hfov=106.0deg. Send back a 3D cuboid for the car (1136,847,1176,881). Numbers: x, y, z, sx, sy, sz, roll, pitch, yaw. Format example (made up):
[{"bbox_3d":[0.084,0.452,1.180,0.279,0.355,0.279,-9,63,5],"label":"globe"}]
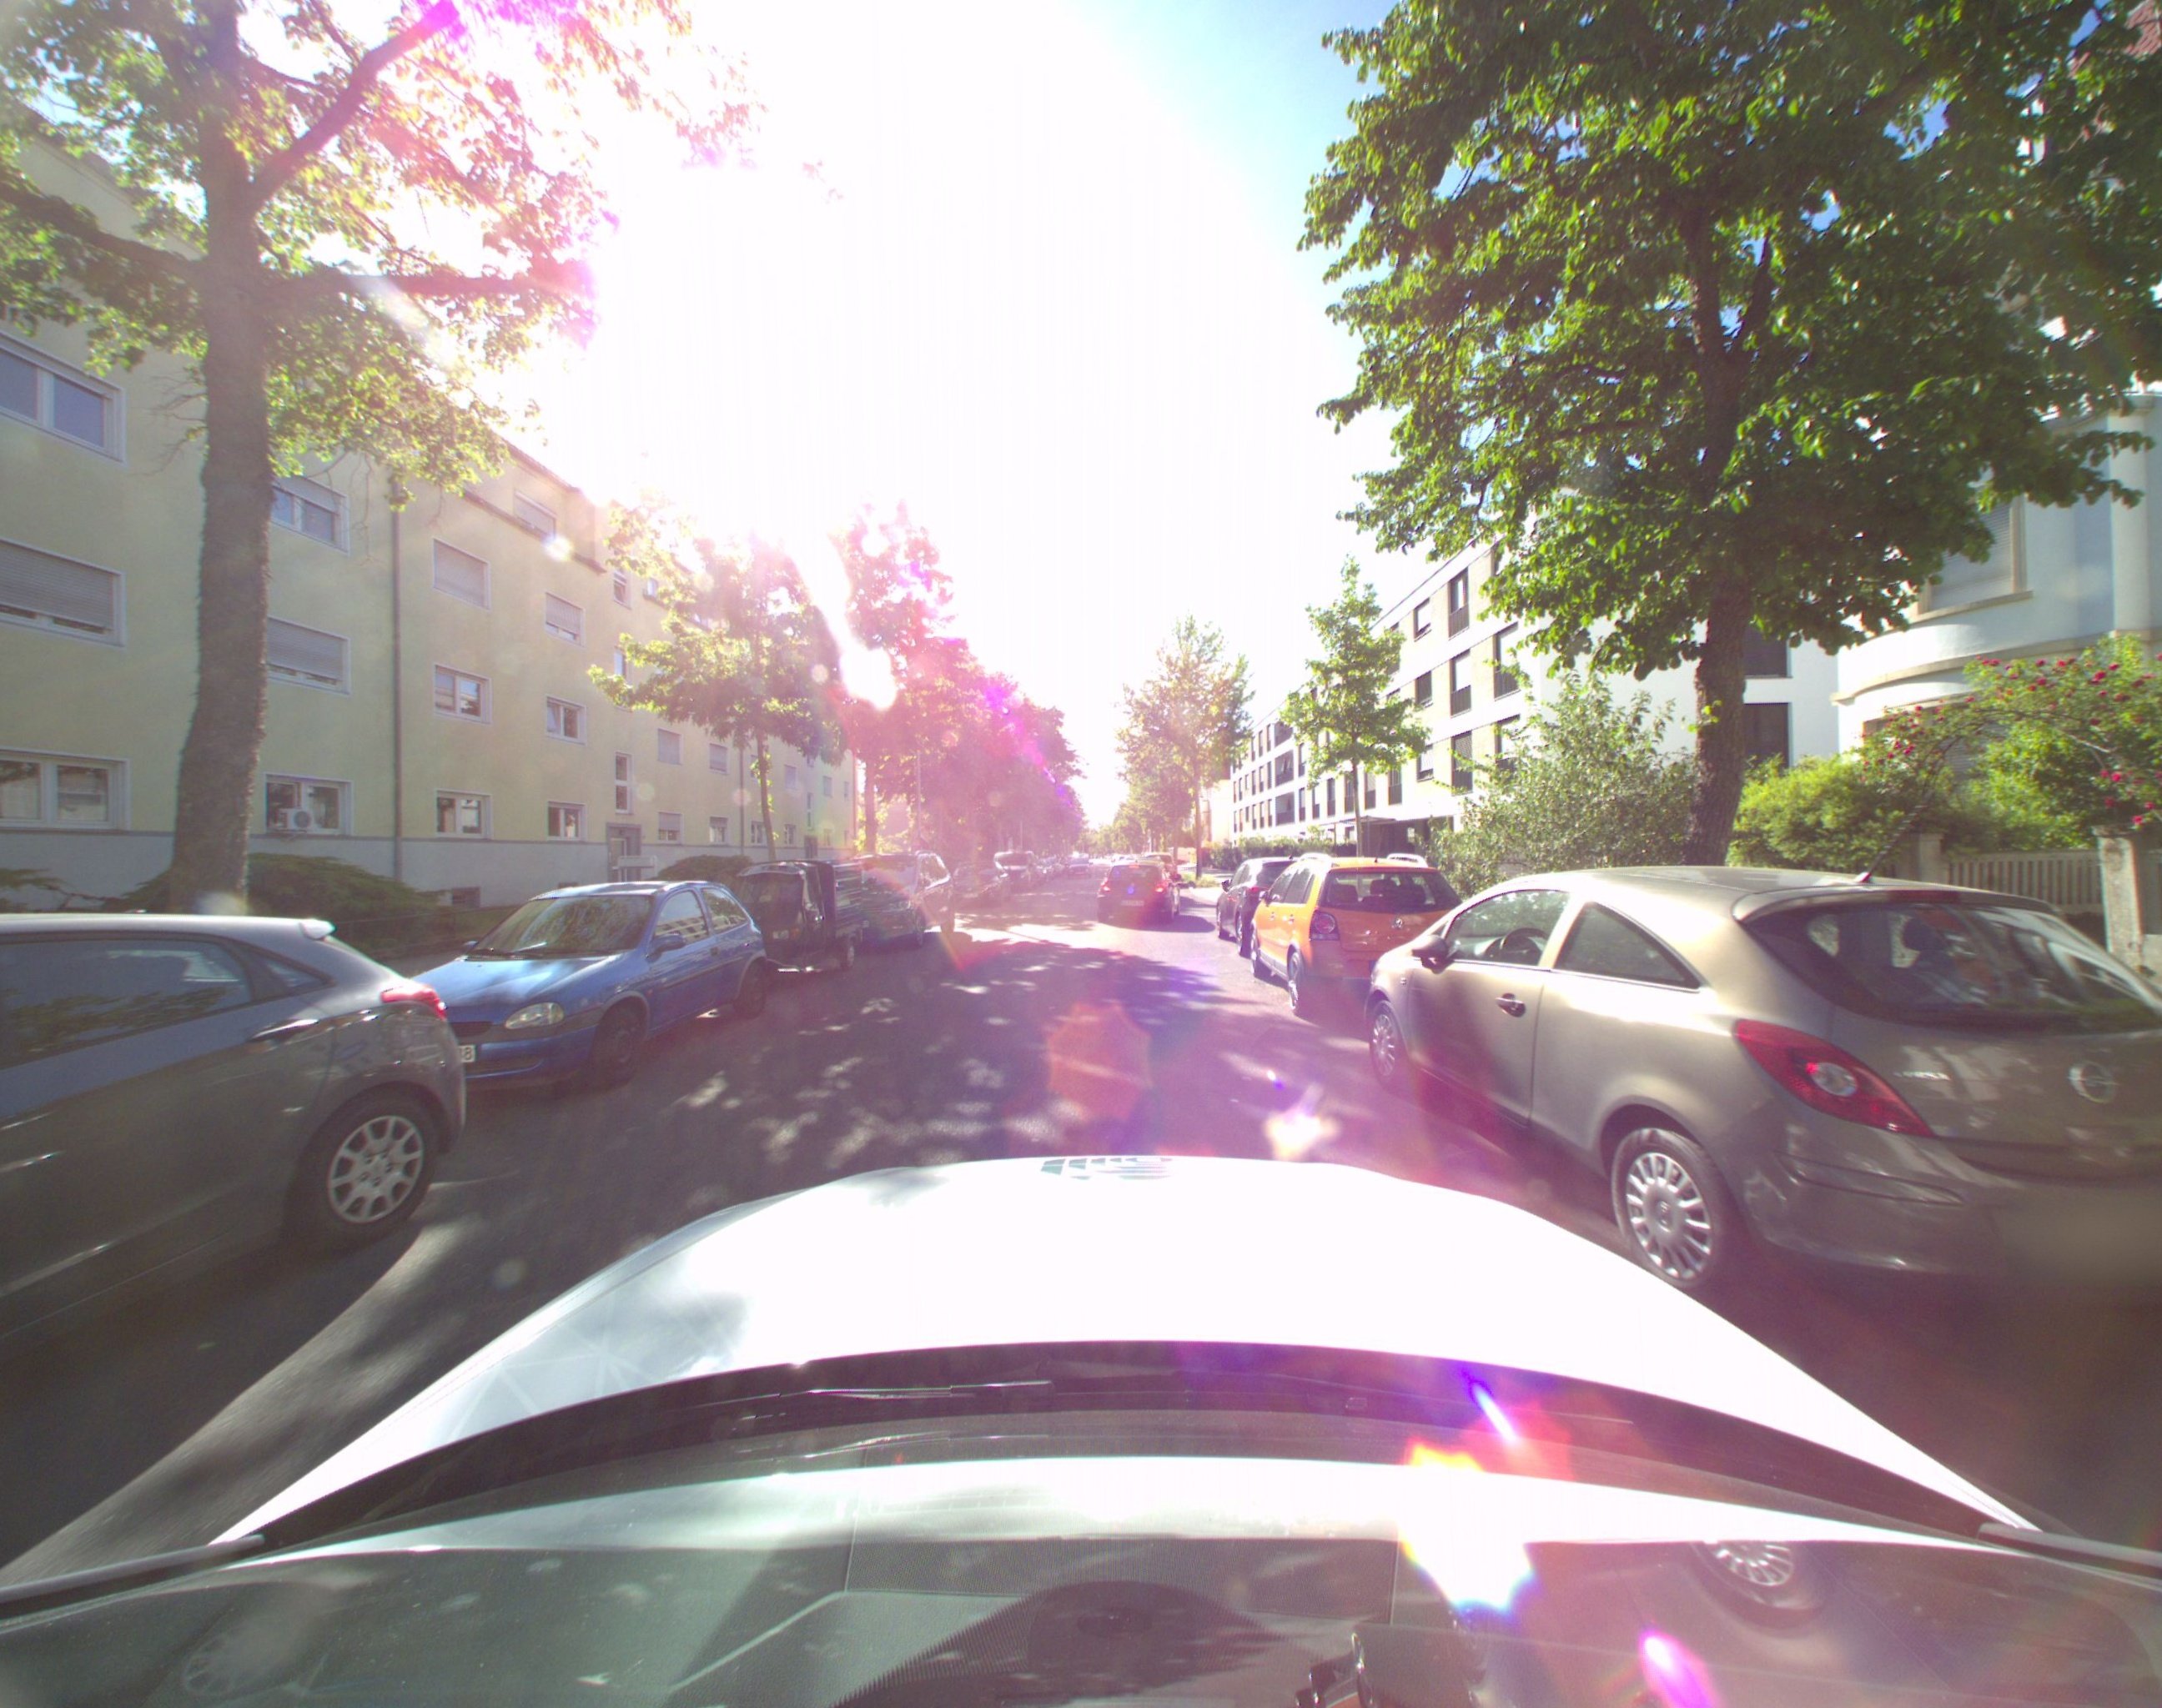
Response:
[{"bbox_3d":[3.735,0.507,41.055,1.840,1.631,4.413,0,-1,3],"label":"car"}]

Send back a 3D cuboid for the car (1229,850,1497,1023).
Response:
[{"bbox_3d":[2.814,0.713,9.105,1.631,1.454,4.100,-1,0,1],"label":"car"}]

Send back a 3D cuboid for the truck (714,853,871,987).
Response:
[{"bbox_3d":[-3.765,0.790,10.964,1.079,1.577,2.434,-1,0,4],"label":"truck"}]

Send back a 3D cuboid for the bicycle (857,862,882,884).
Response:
[{"bbox_3d":[-9.811,0.872,37.895,0.592,0.991,1.929,-2,0,2],"label":"bicycle"}]

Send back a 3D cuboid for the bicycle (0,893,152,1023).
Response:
[{"bbox_3d":[-10.060,0.958,7.960,0.487,1.081,1.831,2,-1,-22],"label":"bicycle"}]

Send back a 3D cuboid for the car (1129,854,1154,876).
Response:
[{"bbox_3d":[4.499,0.805,61.178,1.714,1.528,4.002,1,0,2],"label":"car"}]

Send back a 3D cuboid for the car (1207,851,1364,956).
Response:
[{"bbox_3d":[3.233,0.706,13.666,1.694,1.449,4.084,-2,0,2],"label":"car"}]

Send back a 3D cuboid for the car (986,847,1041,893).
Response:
[{"bbox_3d":[-3.058,0.697,37.915,1.819,1.904,5.144,-3,0,2],"label":"car"}]

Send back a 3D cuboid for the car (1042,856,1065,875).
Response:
[{"bbox_3d":[-2.201,0.903,65.233,1.606,1.452,3.866,-2,0,1],"label":"car"}]

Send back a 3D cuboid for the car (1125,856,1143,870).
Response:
[{"bbox_3d":[5.336,0.885,82.299,1.714,1.379,3.853,1,0,2],"label":"car"}]

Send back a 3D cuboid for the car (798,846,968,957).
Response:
[{"bbox_3d":[-3.525,0.764,15.593,1.843,1.680,4.977,-4,0,1],"label":"car"}]

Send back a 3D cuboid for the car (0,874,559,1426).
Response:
[{"bbox_3d":[-3.870,0.875,2.092,1.784,1.444,4.692,-3,0,3],"label":"car"}]

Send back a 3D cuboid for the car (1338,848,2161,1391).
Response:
[{"bbox_3d":[2.697,0.721,4.043,1.644,1.428,3.611,-2,0,-1],"label":"car"}]

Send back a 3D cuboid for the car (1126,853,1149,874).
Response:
[{"bbox_3d":[4.631,0.760,67.186,1.714,1.641,3.853,1,0,2],"label":"car"}]

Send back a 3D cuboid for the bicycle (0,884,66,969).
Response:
[{"bbox_3d":[-14.612,0.930,10.659,1.835,1.081,0.486,1,-4,-3],"label":"bicycle"}]

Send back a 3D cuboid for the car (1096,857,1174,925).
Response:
[{"bbox_3d":[1.196,0.800,19.248,1.643,1.397,3.412,-2,0,1],"label":"car"}]

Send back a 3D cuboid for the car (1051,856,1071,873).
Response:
[{"bbox_3d":[-1.863,0.963,76.755,1.606,1.543,3.866,-2,0,1],"label":"car"}]

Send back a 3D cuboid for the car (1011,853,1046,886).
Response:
[{"bbox_3d":[-2.772,0.813,43.687,1.607,1.611,4.228,-2,0,-1],"label":"car"}]

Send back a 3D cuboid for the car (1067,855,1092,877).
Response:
[{"bbox_3d":[-0.091,0.786,55.351,1.499,1.426,3.179,-2,0,2],"label":"car"}]

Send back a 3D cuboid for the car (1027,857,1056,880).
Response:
[{"bbox_3d":[-2.582,0.950,54.090,1.606,1.427,3.726,-2,0,1],"label":"car"}]

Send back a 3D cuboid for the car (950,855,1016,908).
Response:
[{"bbox_3d":[-3.214,0.857,27.549,1.502,1.548,4.779,-3,0,1],"label":"car"}]

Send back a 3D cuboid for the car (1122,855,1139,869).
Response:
[{"bbox_3d":[5.285,0.848,87.089,1.714,1.480,3.853,1,0,2],"label":"car"}]

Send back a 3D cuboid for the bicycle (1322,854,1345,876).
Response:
[{"bbox_3d":[12.258,0.530,39.521,0.544,1.055,1.690,-2,0,-1],"label":"bicycle"}]

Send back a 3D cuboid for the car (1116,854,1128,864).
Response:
[{"bbox_3d":[6.139,0.779,122.386,1.713,1.480,3.856,-2,0,4],"label":"car"}]

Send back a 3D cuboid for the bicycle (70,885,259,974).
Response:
[{"bbox_3d":[-11.972,0.972,10.664,1.834,1.081,0.486,-1,0,-2],"label":"bicycle"}]

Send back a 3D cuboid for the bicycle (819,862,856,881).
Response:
[{"bbox_3d":[-13.898,1.008,46.432,1.919,0.991,0.595,-2,0,-6],"label":"bicycle"}]

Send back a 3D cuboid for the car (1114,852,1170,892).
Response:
[{"bbox_3d":[2.308,0.666,31.702,1.646,1.425,3.996,-2,0,-3],"label":"car"}]

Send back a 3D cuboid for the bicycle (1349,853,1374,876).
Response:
[{"bbox_3d":[13.618,0.496,39.543,0.544,1.055,1.779,-2,0,-1],"label":"bicycle"}]

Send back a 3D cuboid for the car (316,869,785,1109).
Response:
[{"bbox_3d":[-3.981,0.875,6.939,1.516,1.395,3.726,-1,0,0],"label":"car"}]

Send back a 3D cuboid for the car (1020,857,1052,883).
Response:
[{"bbox_3d":[-2.658,0.920,48.995,1.606,1.427,4.058,-2,0,1],"label":"car"}]

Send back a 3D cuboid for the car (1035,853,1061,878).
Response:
[{"bbox_3d":[-2.361,0.796,59.530,1.606,1.679,4.234,-2,0,1],"label":"car"}]
